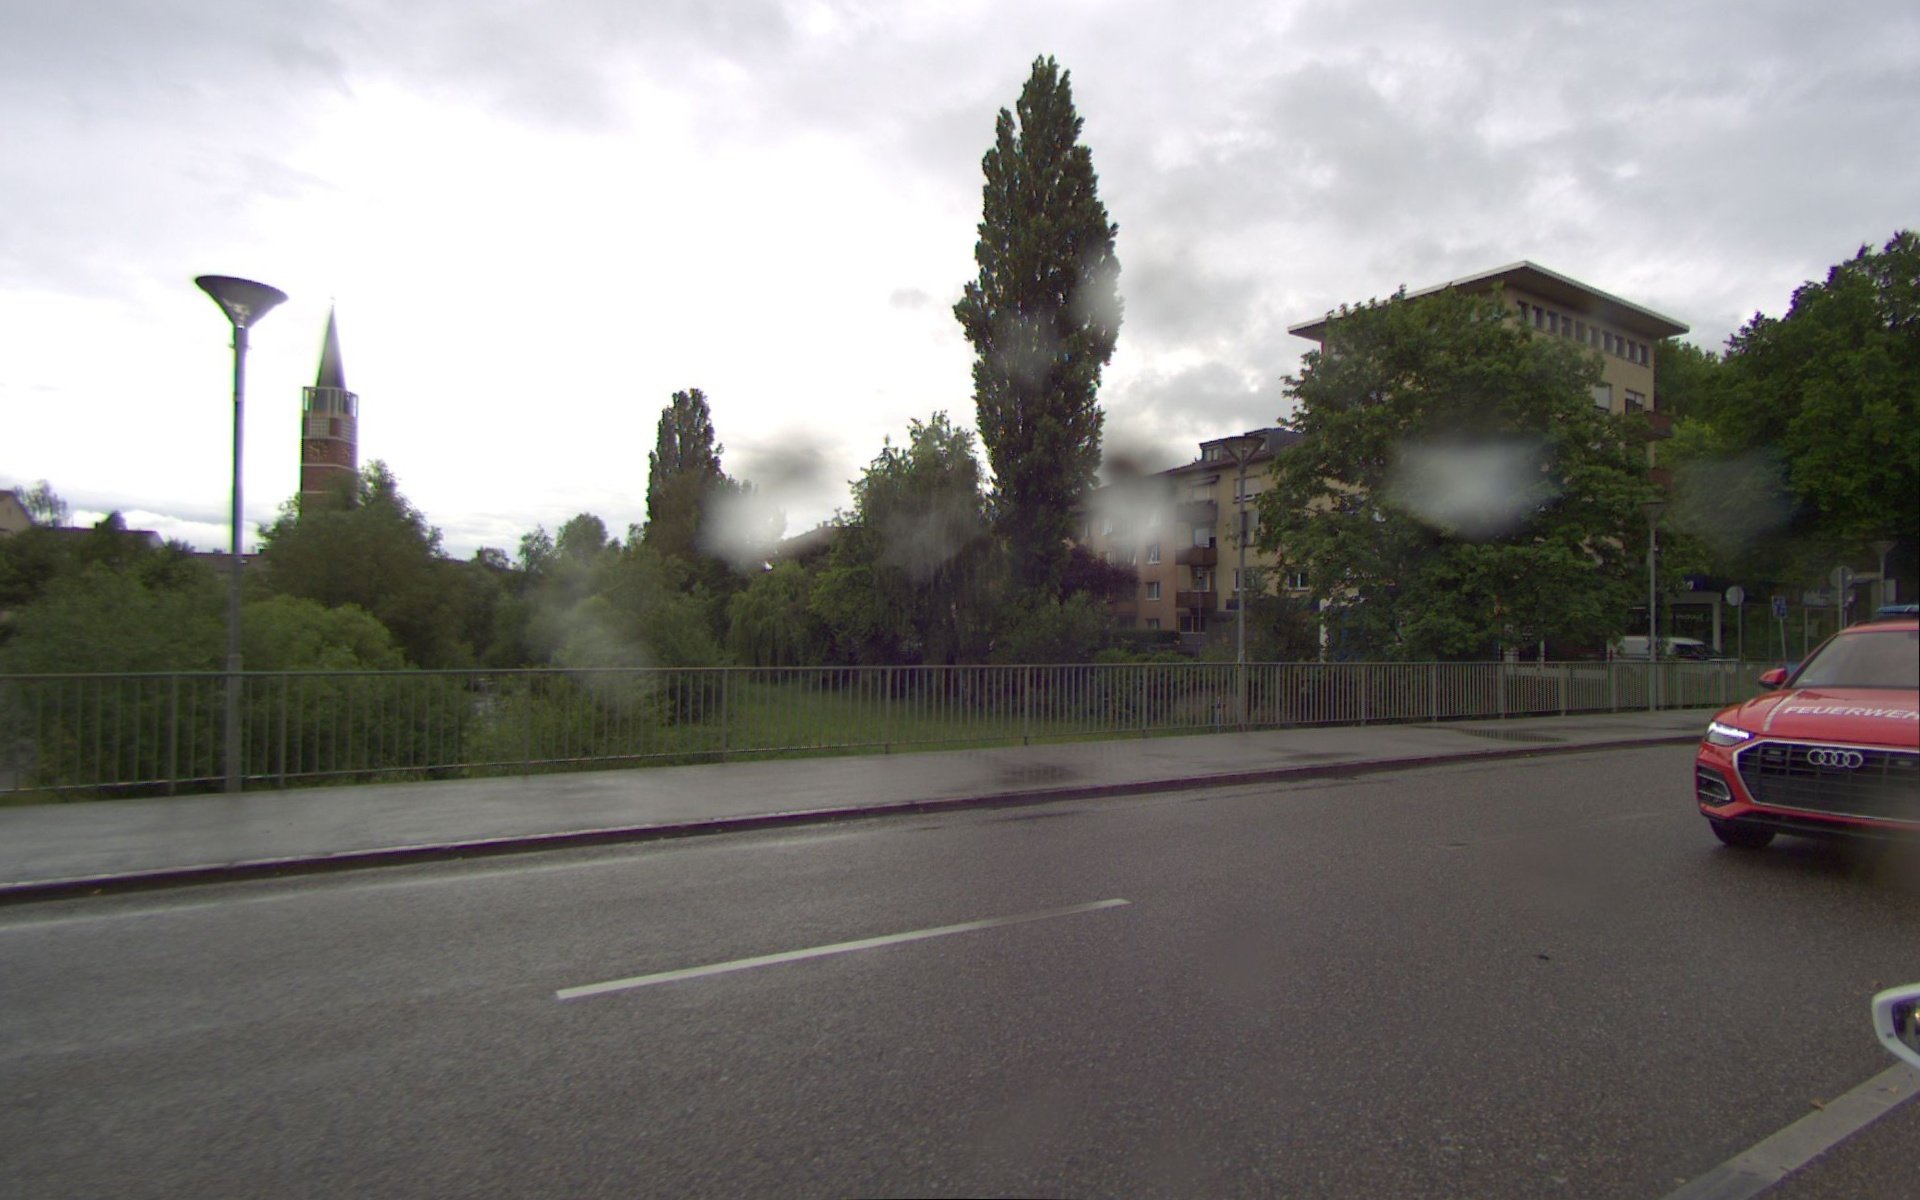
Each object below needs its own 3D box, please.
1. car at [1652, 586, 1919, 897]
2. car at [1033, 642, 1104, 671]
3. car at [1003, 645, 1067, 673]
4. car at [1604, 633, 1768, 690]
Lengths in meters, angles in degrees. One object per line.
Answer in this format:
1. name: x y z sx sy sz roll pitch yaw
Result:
1. car: 7.071 0.864 7.147 4.320 1.757 1.880 2 -3 -30
2. car: 7.227 3.758 67.241 1.982 1.676 4.705 0 0 -38
3. car: 4.508 3.518 60.588 1.726 1.602 3.844 2 -2 -38
4. car: 27.434 2.260 38.086 1.982 1.879 4.705 0 0 -38
